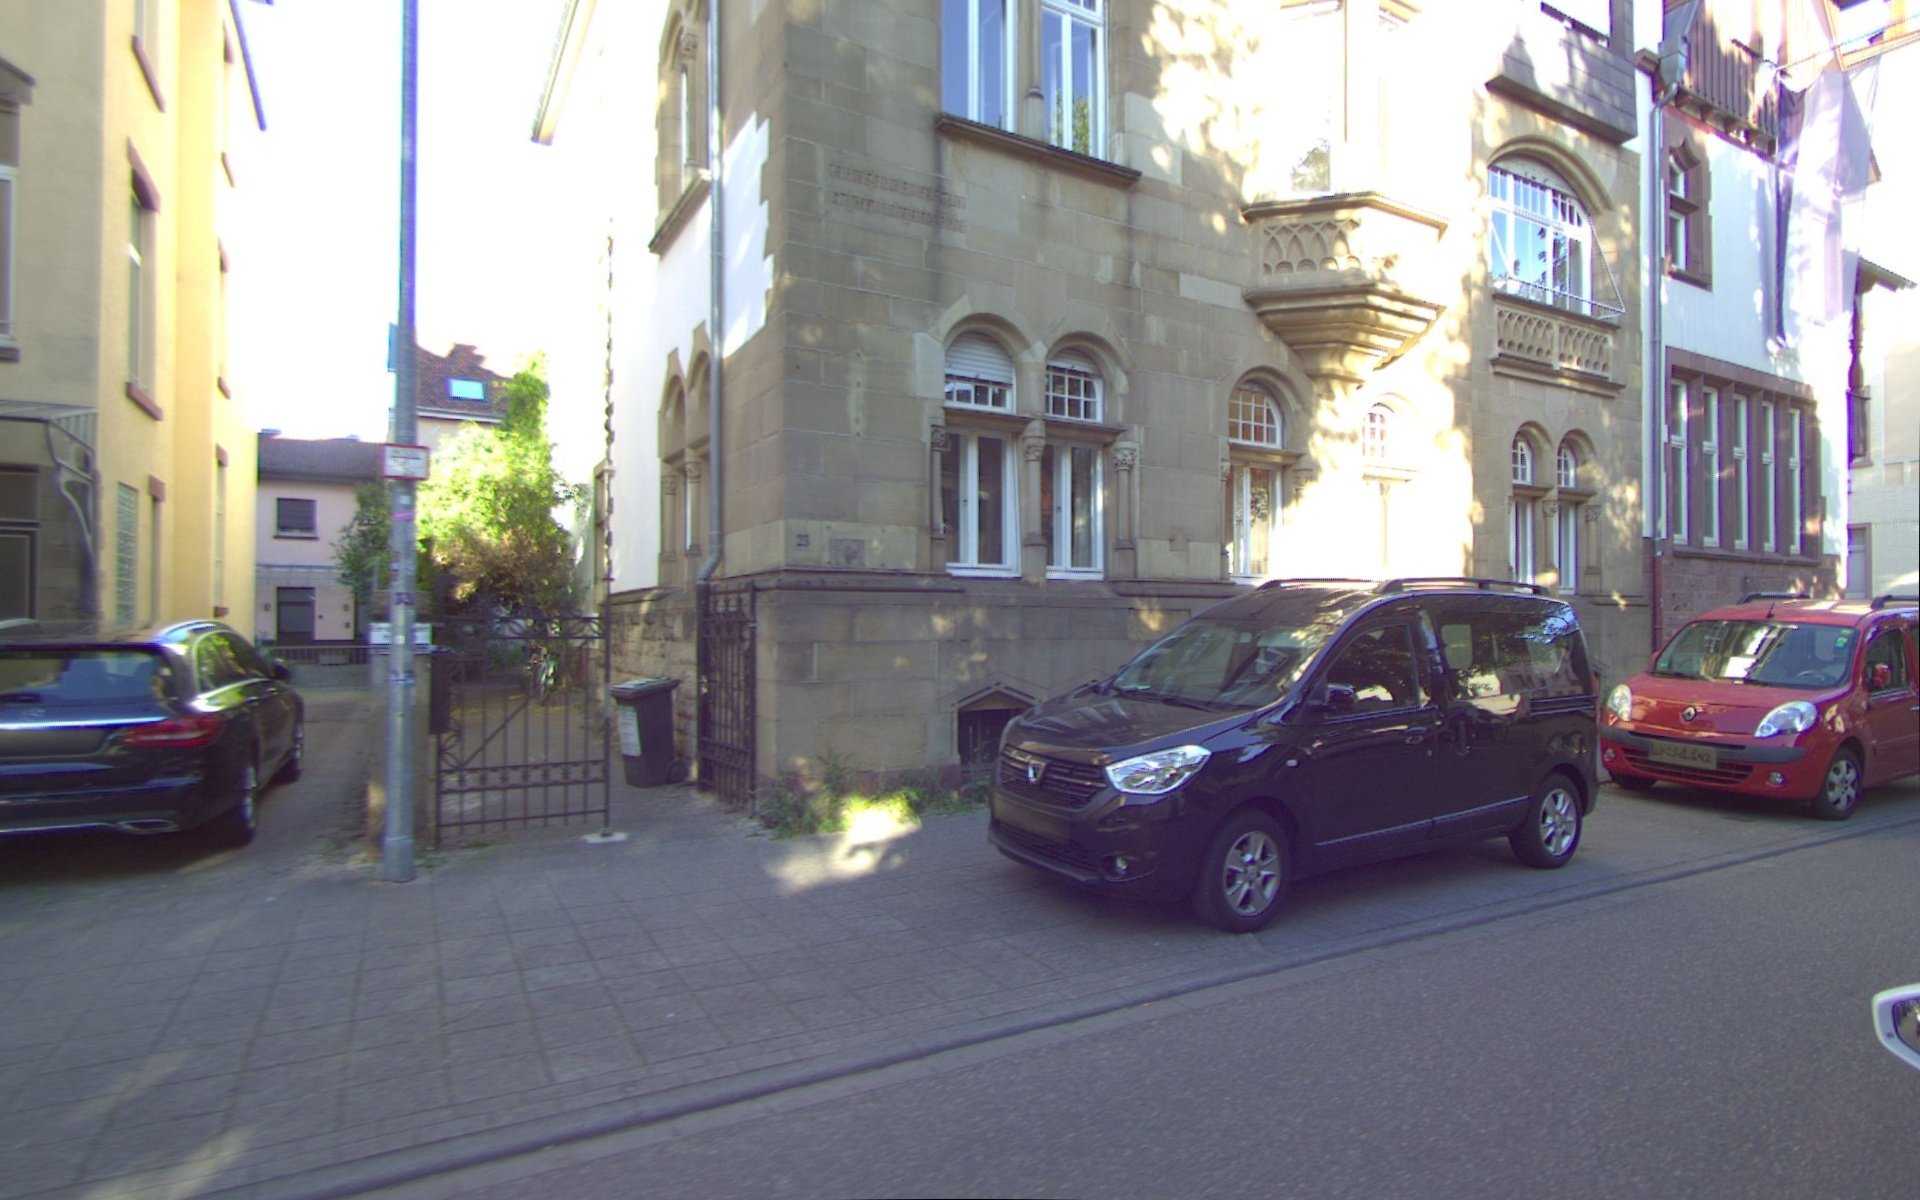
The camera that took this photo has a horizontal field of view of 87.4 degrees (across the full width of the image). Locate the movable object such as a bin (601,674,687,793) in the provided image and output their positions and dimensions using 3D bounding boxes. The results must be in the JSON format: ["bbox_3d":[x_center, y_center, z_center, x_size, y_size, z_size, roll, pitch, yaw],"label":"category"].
[{"bbox_3d":[-2.817,1.167,8.941,0.645,0.972,0.525,1,-2,-28],"label":"movable object such as a bin"}]

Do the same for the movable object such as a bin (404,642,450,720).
[{"bbox_3d":[-7.919,1.179,14.930,0.578,1.107,0.785,1,-2,-28],"label":"movable object such as a bin"}]

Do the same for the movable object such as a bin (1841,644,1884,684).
[{"bbox_3d":[20.691,1.467,23.033,0.662,0.890,0.480,0,-1,-20],"label":"movable object such as a bin"}]

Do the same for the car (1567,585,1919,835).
[{"bbox_3d":[7.924,0.877,9.617,4.273,1.932,1.790,1,0,-30],"label":"car"}]

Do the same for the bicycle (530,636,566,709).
[{"bbox_3d":[-7.098,1.213,17.276,0.421,1.165,1.833,1,-1,-27],"label":"bicycle"}]

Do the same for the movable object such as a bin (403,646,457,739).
[{"bbox_3d":[-6.687,1.144,12.695,0.578,1.103,0.846,1,-2,-28],"label":"movable object such as a bin"}]

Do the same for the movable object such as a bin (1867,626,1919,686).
[{"bbox_3d":[21.449,1.241,22.510,0.954,1.316,1.374,0,-1,-20],"label":"movable object such as a bin"}]

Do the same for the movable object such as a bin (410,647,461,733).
[{"bbox_3d":[-7.027,1.185,13.462,0.578,1.103,0.785,1,-2,-28],"label":"movable object such as a bin"}]

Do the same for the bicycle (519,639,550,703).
[{"bbox_3d":[-8.380,1.363,19.764,0.421,1.165,1.833,1,-1,-27],"label":"bicycle"}]

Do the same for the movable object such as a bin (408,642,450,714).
[{"bbox_3d":[-8.448,1.222,15.994,0.578,1.107,0.897,1,-2,-28],"label":"movable object such as a bin"}]

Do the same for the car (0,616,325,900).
[{"bbox_3d":[-6.011,0.860,7.223,2.042,1.457,4.373,1,-1,-27],"label":"car"}]

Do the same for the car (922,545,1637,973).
[{"bbox_3d":[2.141,0.729,6.318,4.488,1.876,1.761,1,-1,-30],"label":"car"}]
